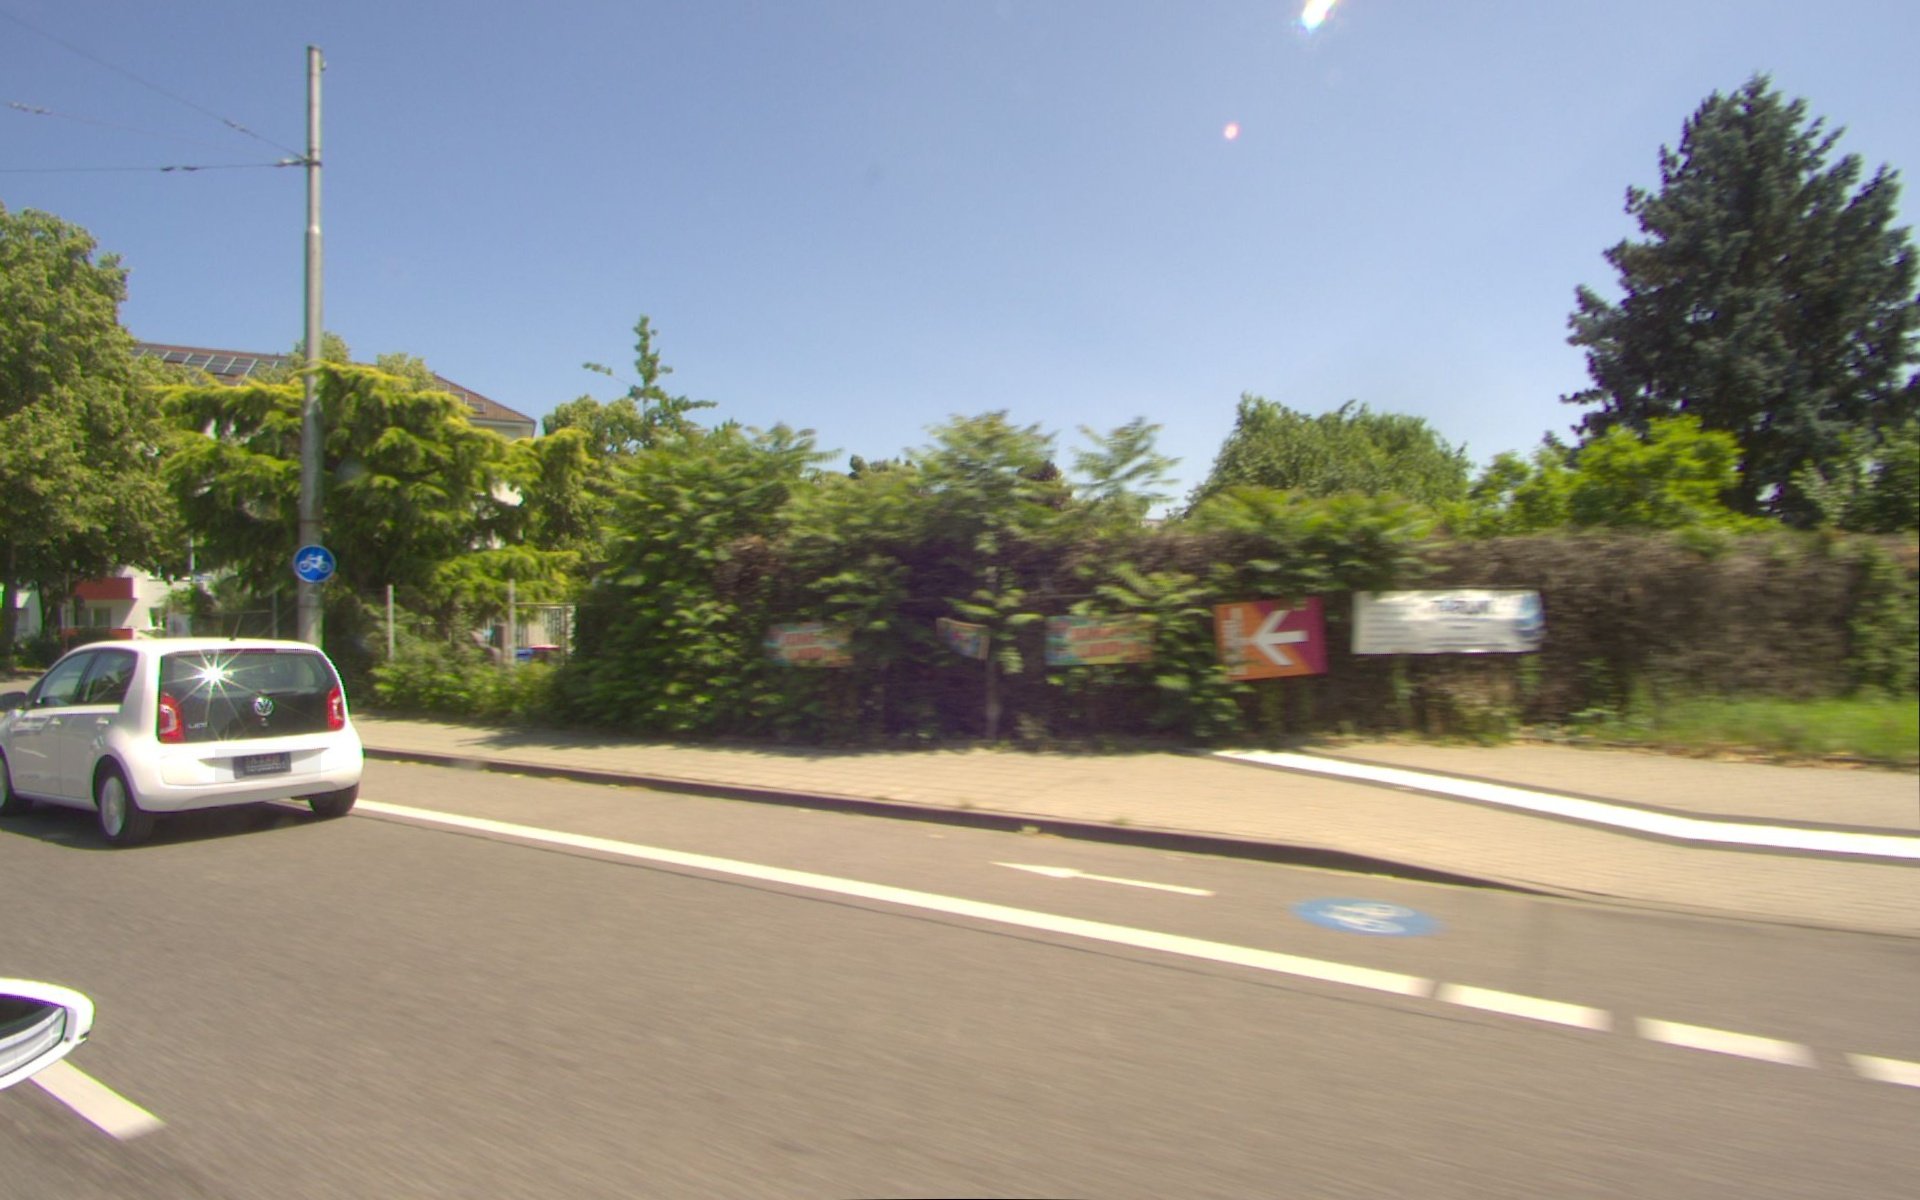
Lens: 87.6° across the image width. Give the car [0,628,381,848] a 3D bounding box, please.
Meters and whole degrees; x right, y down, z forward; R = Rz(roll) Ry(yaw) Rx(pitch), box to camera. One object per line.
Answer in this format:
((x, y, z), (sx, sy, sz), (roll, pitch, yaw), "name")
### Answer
((-6.604, 1.001, 8.412), (3.386, 1.466, 1.607), (0, -2, 32), "car")
